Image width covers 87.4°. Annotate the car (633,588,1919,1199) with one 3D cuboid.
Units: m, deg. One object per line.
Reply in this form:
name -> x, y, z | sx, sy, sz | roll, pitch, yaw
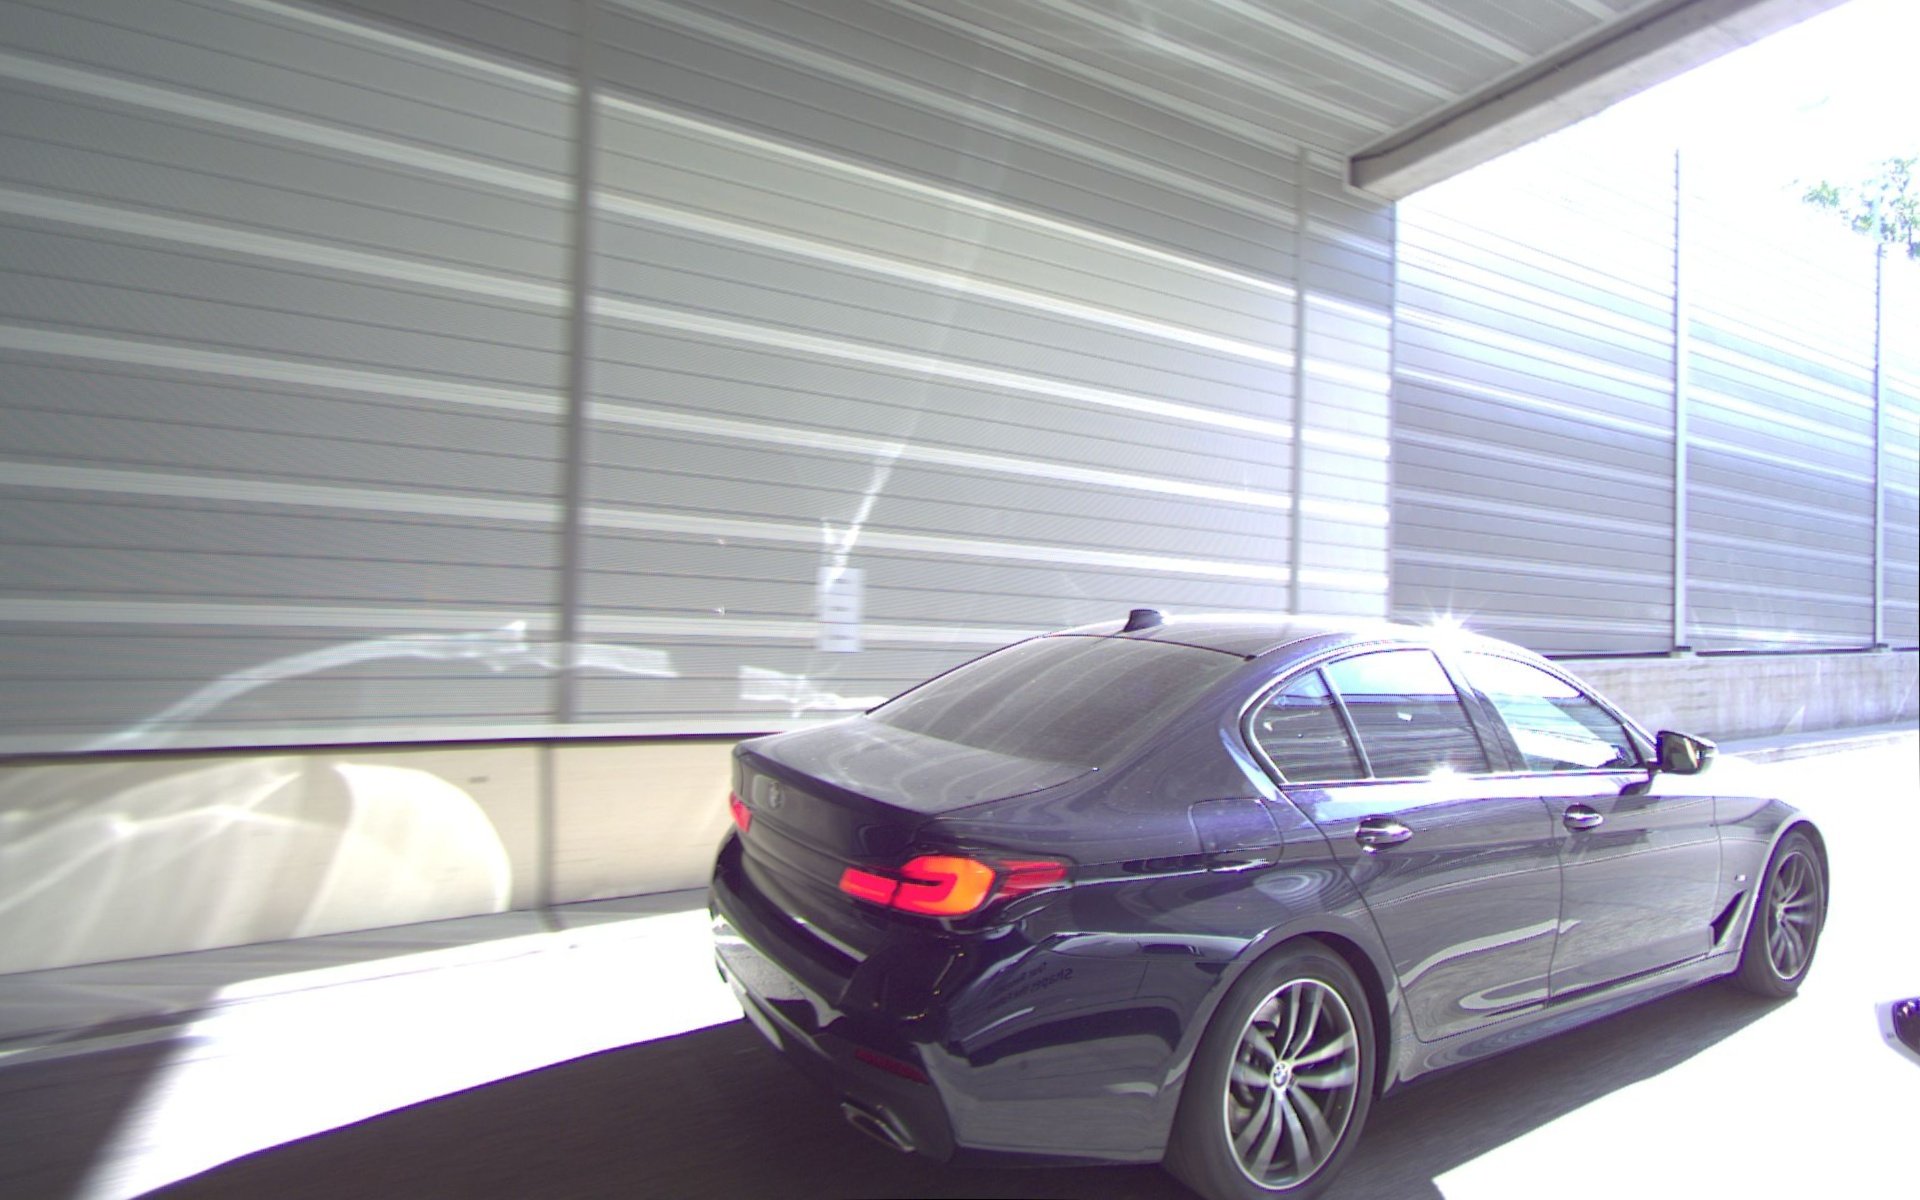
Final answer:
car -> 1.500, 0.766, 3.809 | 4.943, 1.458, 1.800 | 2, 0, -30
